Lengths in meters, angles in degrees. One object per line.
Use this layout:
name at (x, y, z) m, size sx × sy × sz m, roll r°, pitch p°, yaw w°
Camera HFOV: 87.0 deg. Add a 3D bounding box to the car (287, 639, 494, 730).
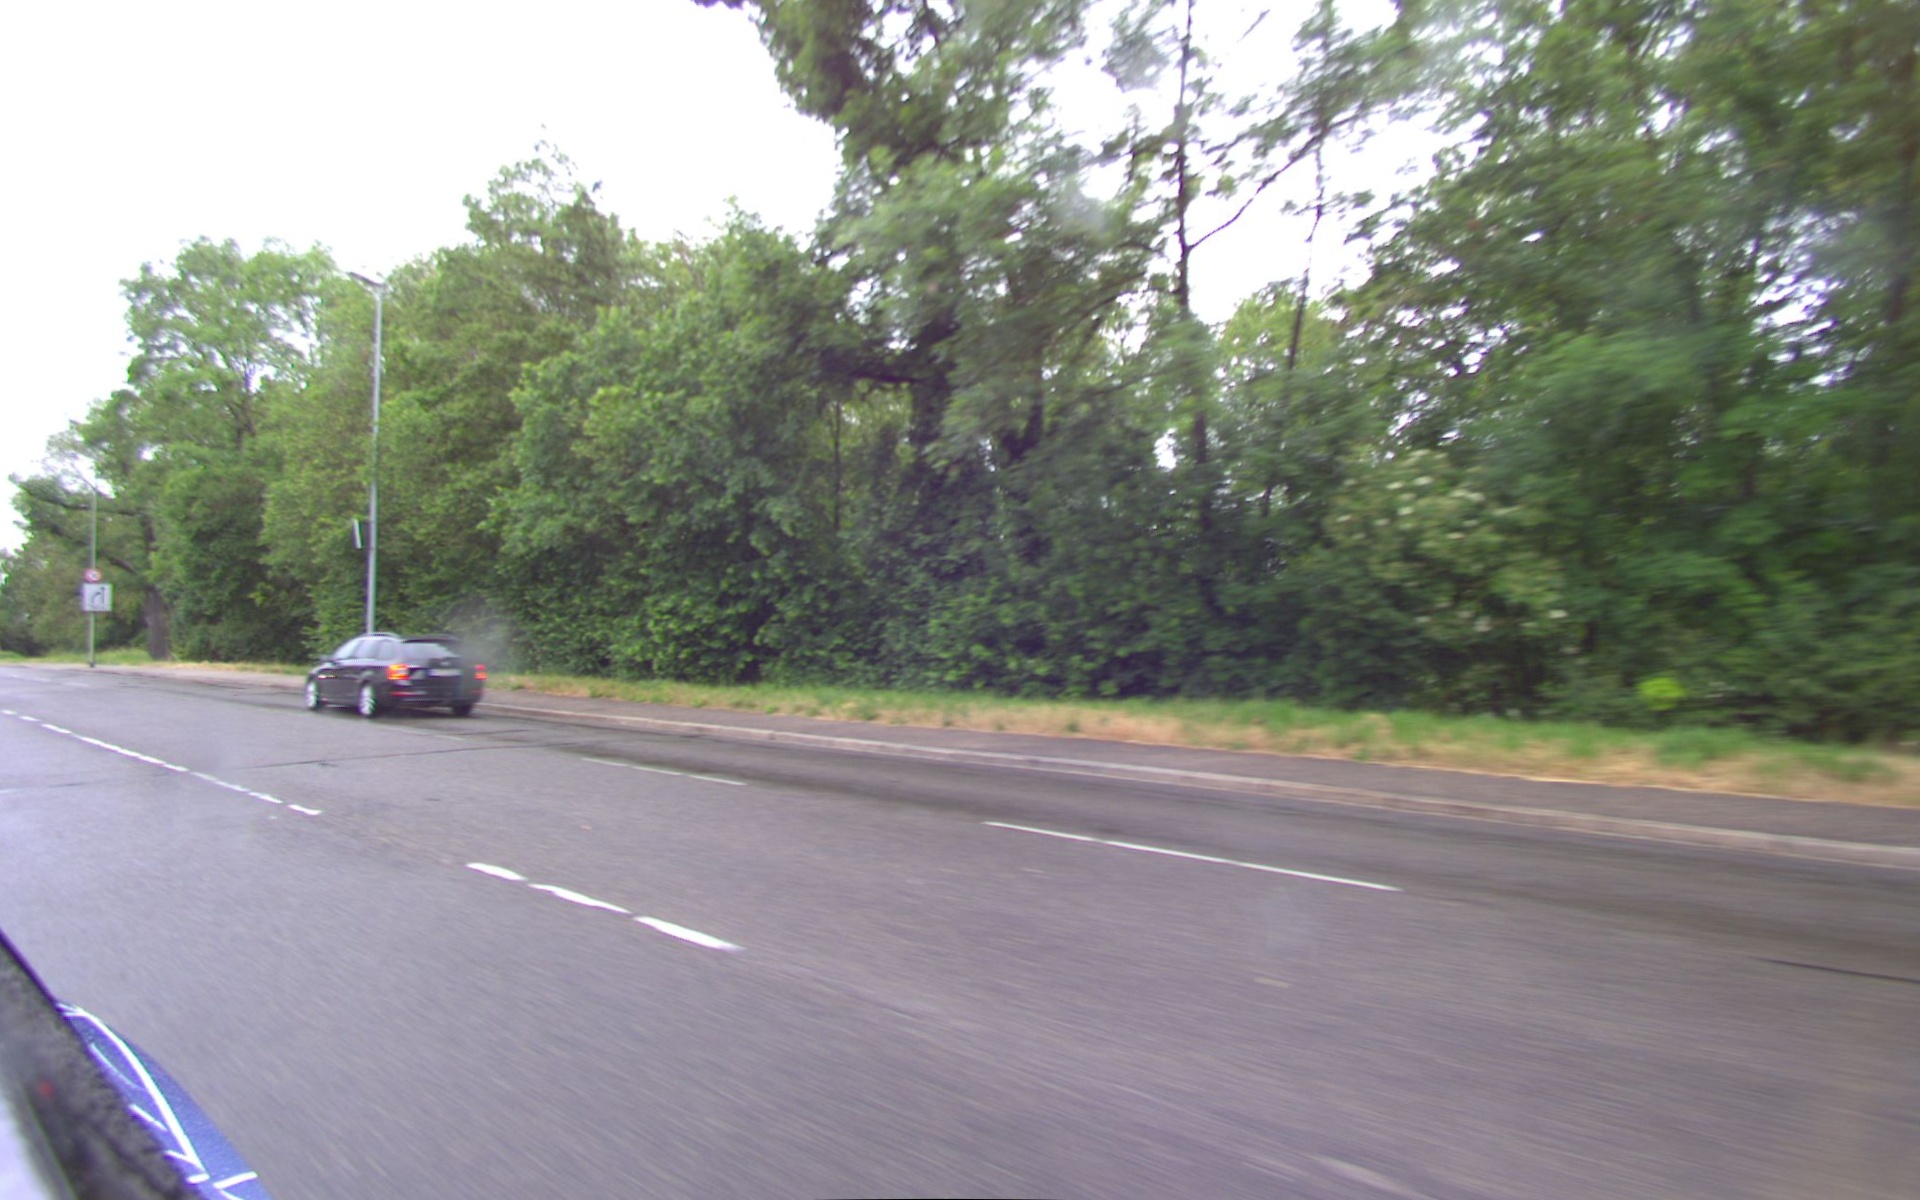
car at (-10.339, 1.449, 18.252) m, size 4.384 × 1.443 × 1.727 m, roll -2°, pitch -4°, yaw 39°
